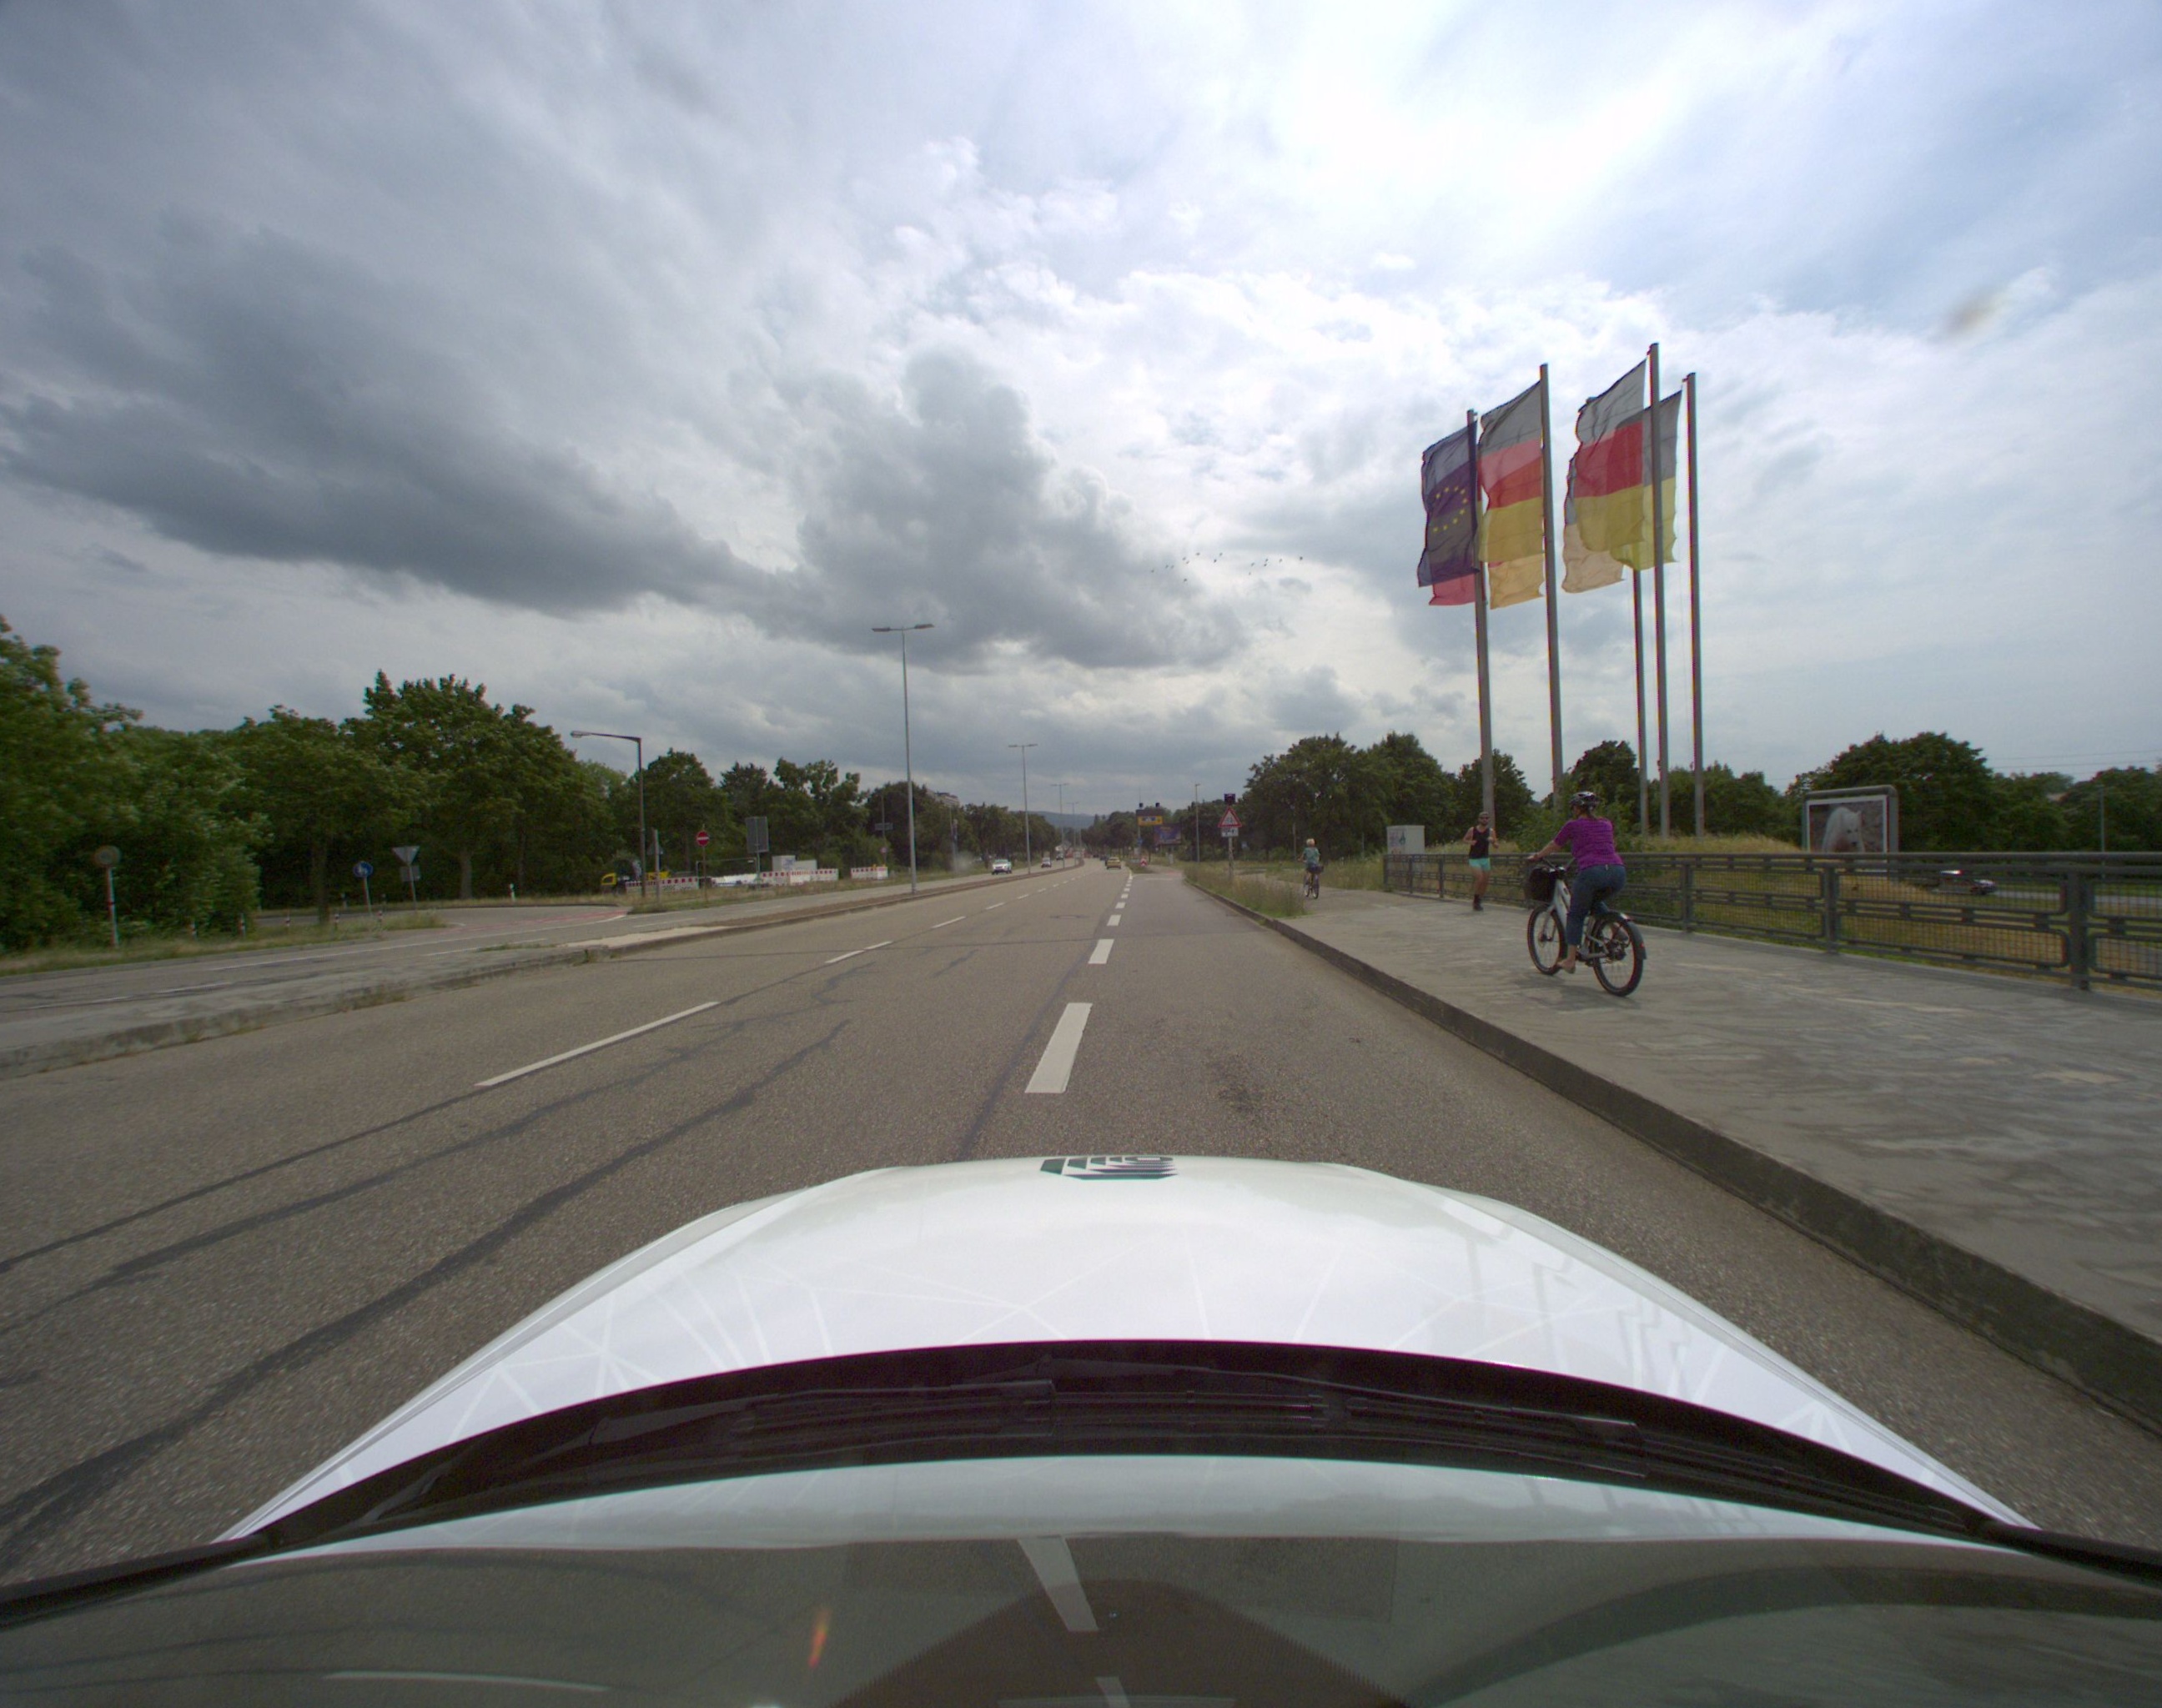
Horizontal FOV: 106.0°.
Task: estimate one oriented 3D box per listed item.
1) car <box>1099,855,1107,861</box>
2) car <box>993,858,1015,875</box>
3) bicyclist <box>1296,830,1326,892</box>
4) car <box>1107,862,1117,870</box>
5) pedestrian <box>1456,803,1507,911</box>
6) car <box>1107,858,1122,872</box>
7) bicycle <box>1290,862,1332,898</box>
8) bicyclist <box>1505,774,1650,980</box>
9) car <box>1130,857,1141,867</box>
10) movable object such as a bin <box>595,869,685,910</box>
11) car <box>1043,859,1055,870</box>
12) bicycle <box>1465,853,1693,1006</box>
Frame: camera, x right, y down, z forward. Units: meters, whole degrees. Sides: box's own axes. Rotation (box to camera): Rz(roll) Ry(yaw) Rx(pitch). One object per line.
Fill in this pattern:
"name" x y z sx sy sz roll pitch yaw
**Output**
"car" 6.000 1.108 224.894 2.198 1.684 4.002 -2 1 2
"car" -8.335 1.336 88.727 1.687 1.629 4.388 -2 1 4
"bicyclist" 6.384 0.189 22.659 0.619 1.666 0.669 -2 0 1
"car" 5.482 2.184 145.276 1.661 1.269 4.001 -2 1 1
"pedestrian" 7.643 0.049 15.563 0.624 2.013 0.668 -2 0 3
"car" 4.196 1.335 102.285 1.787 1.562 4.001 -2 1 1
"bicycle" 6.416 0.715 22.807 0.621 0.888 2.155 -2 1 2
"bicyclist" 4.537 0.195 7.517 0.700 1.755 0.992 -2 0 2
"car" 10.794 1.590 161.726 2.007 1.670 4.001 -2 1 1
"movable object such as a bin" -28.496 2.288 52.739 4.575 2.397 1.995 -2 1 -8
"car" -5.873 1.955 149.526 1.895 1.809 4.542 -2 1 2
"bicycle" 4.565 0.602 7.745 0.691 1.192 2.462 -2 0 2
